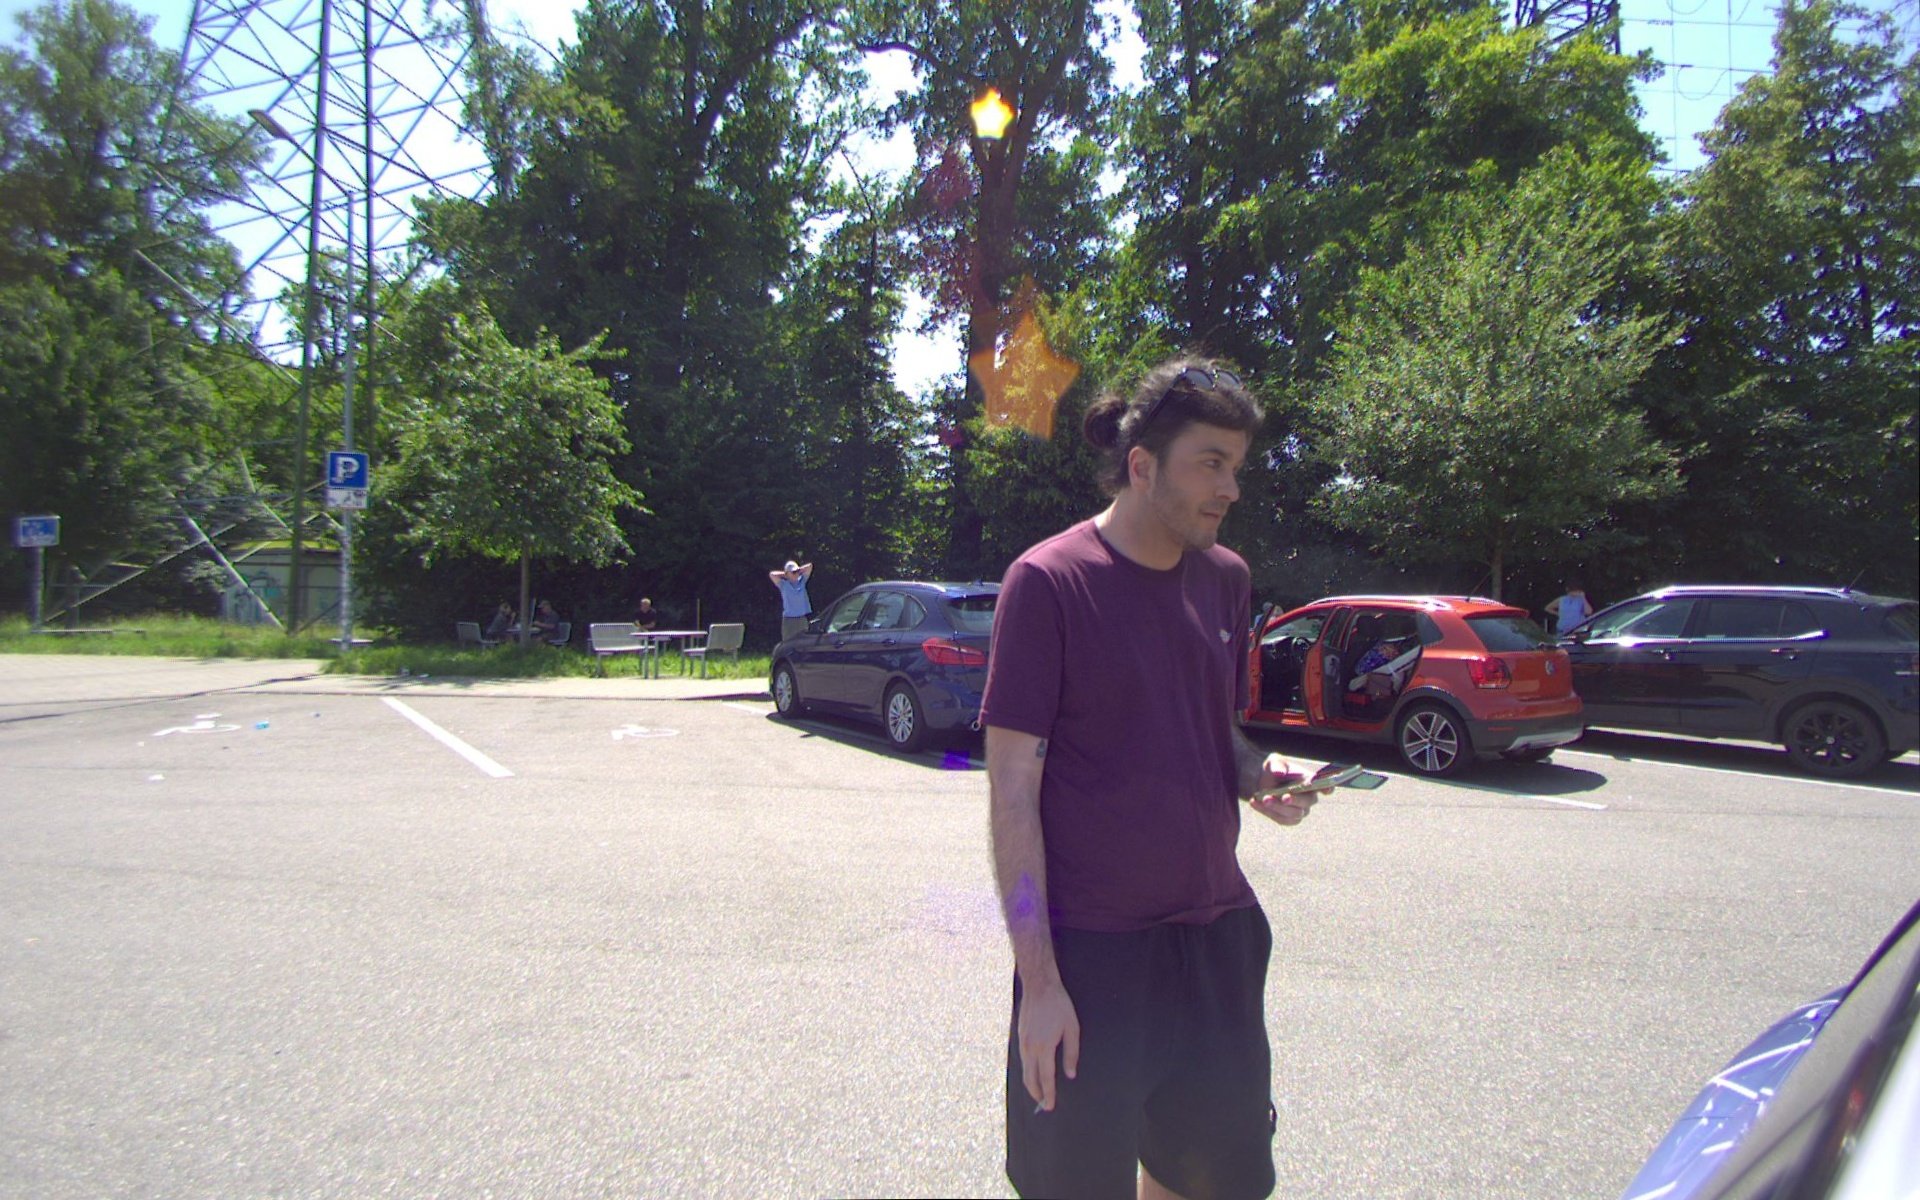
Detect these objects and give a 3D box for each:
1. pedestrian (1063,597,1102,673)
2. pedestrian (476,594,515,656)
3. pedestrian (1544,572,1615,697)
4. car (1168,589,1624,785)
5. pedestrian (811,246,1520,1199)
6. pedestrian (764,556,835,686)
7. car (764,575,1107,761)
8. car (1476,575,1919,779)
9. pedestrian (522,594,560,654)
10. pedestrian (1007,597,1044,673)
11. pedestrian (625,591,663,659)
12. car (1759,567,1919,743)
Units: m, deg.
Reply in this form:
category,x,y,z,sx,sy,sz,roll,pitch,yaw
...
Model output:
category,x,y,z,sx,sy,sz,roll,pitch,yaw
pedestrian,2.050,0.576,17.026,0.576,1.251,0.697,0,-1,1
pedestrian,-10.483,0.550,22.852,0.687,1.352,0.563,0,0,-40
pedestrian,9.383,0.513,15.344,0.752,1.854,0.520,0,0,7
car,3.887,0.641,9.604,1.559,1.467,3.737,1,0,-33
pedestrian,0.306,0.513,1.759,0.844,1.857,0.865,0,0,-31
pedestrian,-2.260,0.283,14.199,0.663,1.754,0.833,1,0,-37
car,-0.450,0.554,10.677,1.776,1.562,3.940,1,0,-34
car,7.253,0.591,9.719,1.707,1.607,3.732,1,0,-39
pedestrian,-9.726,0.540,23.491,0.687,1.352,0.563,0,0,-40
pedestrian,1.102,0.580,17.093,0.576,1.251,0.697,0,-1,1
pedestrian,-6.654,0.516,21.329,0.553,1.408,0.700,0,0,2
car,10.836,0.548,9.690,1.960,1.734,4.621,0,1,-31
